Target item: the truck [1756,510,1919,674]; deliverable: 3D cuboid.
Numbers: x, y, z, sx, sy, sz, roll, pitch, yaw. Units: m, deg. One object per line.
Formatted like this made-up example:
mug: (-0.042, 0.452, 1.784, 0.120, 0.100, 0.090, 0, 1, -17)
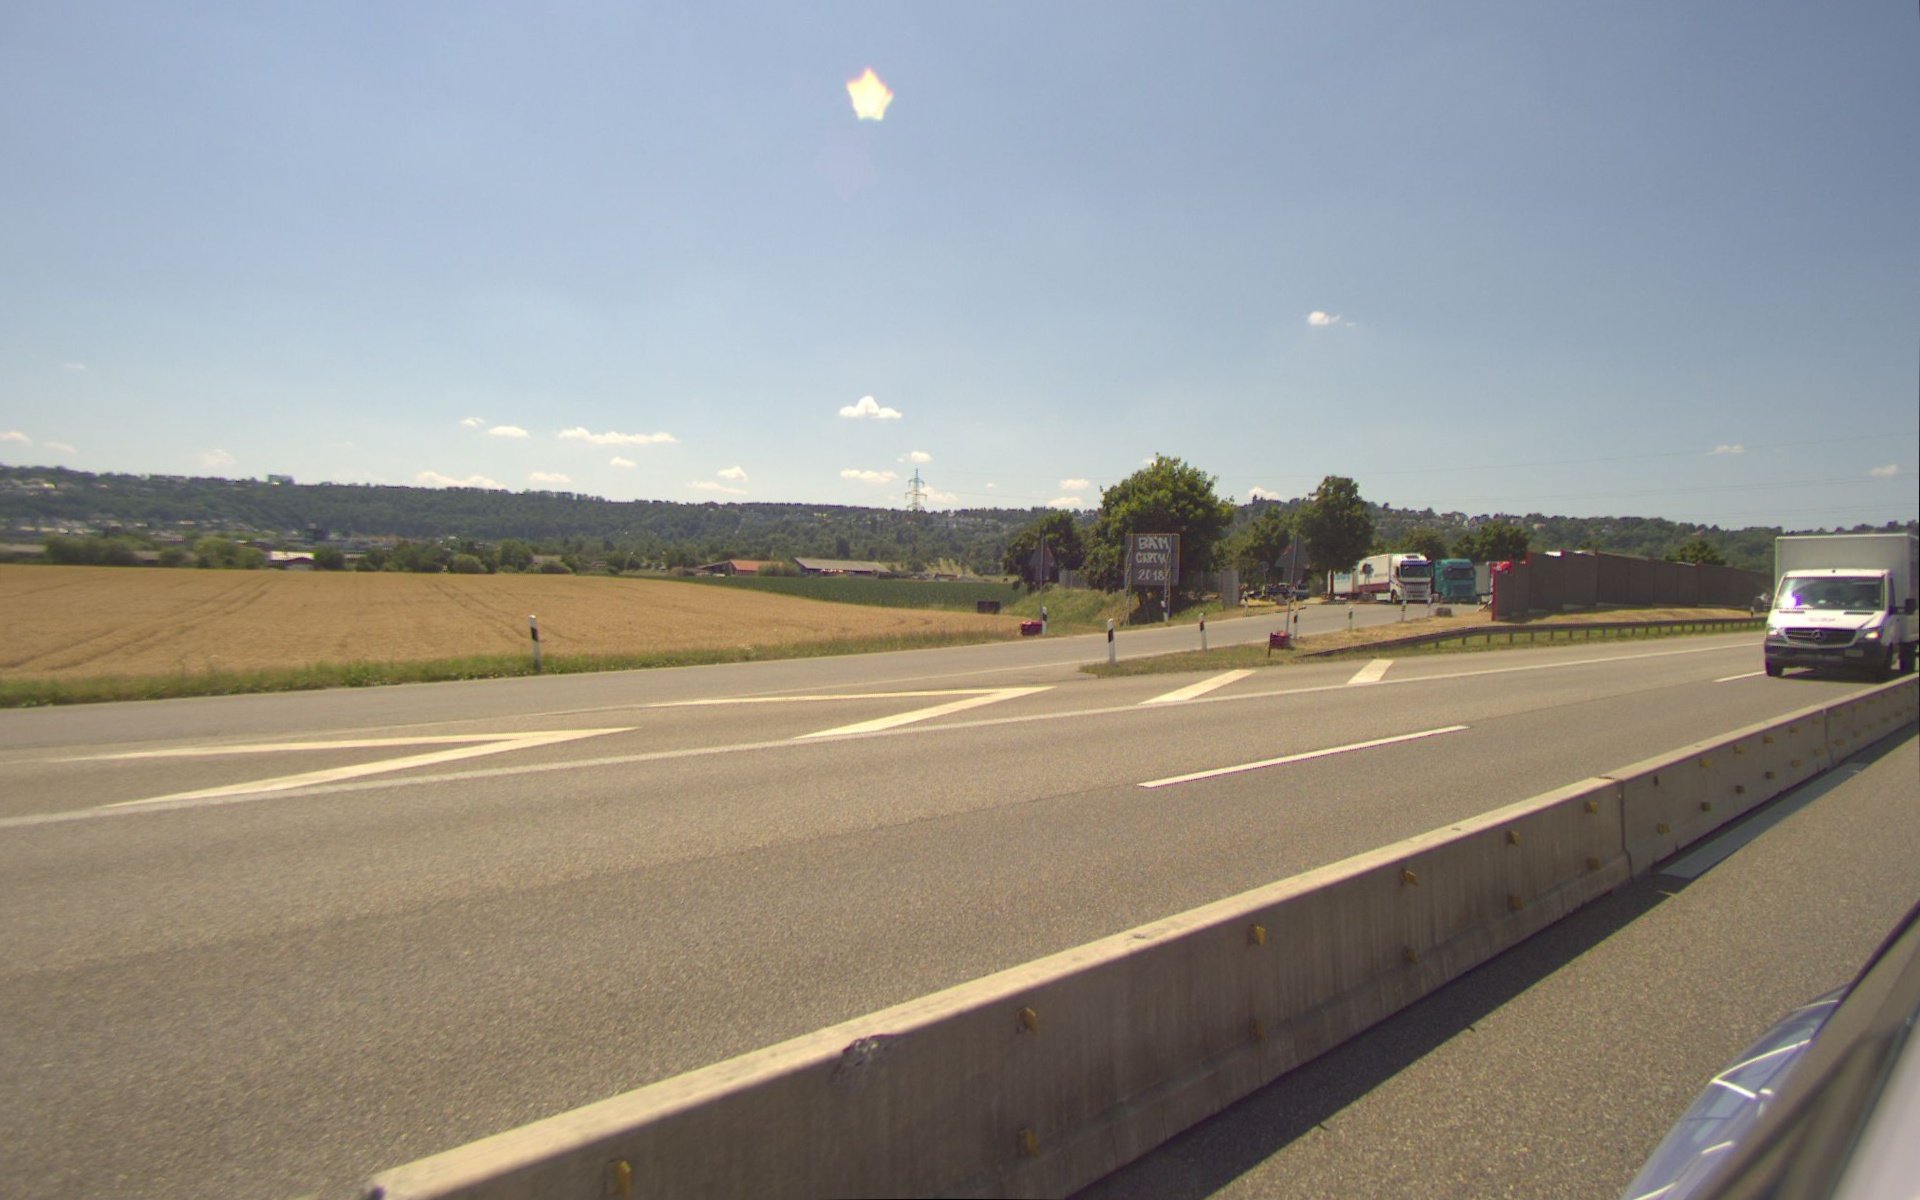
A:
truck: (19.726, -0.098, 22.200, 6.631, 3.107, 2.325, 1, -1, -41)
